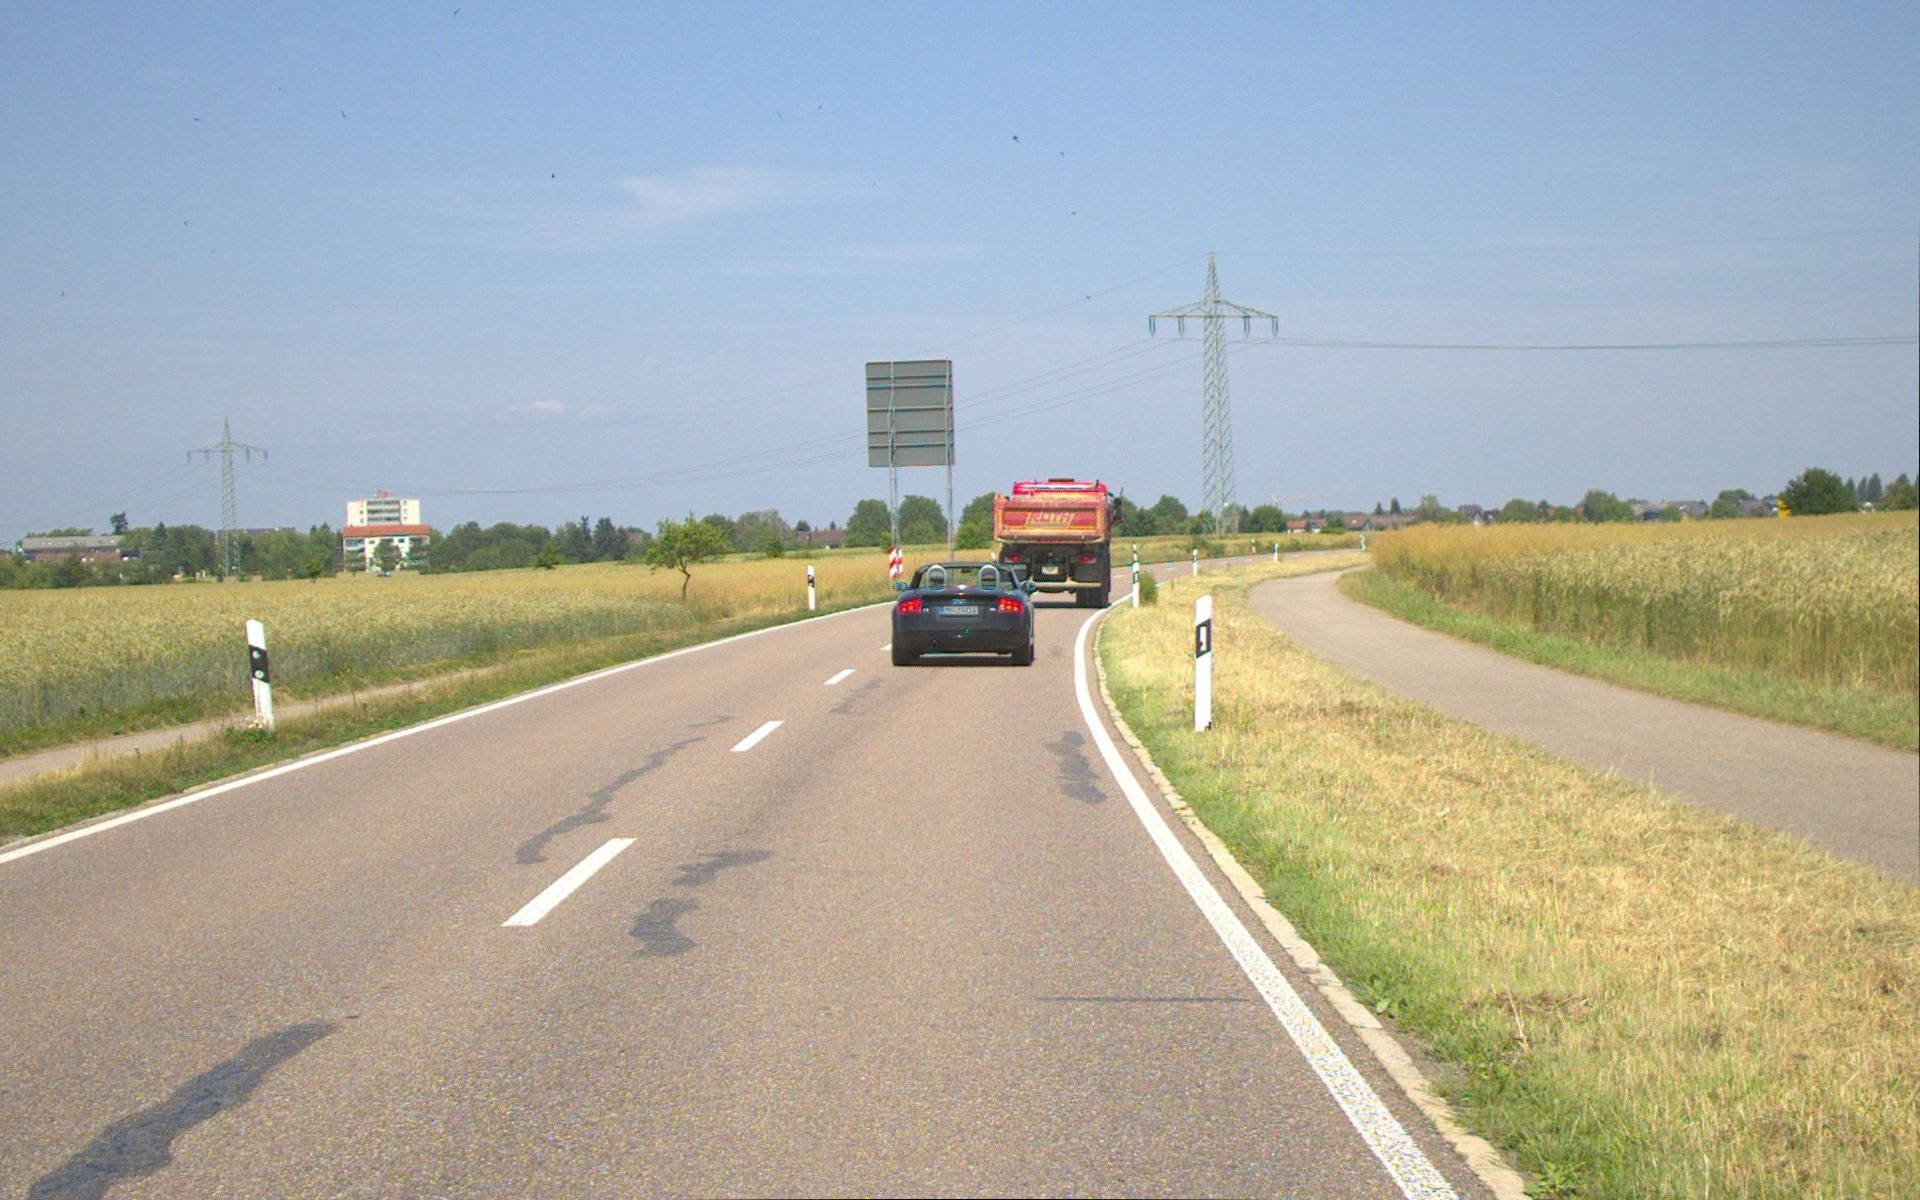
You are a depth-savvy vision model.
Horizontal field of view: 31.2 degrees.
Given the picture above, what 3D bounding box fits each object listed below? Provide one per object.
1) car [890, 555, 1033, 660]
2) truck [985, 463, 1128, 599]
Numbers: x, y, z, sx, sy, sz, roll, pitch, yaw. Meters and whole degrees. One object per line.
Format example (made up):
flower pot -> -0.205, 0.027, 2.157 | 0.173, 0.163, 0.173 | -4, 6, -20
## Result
car -> 0.062, 0.077, 44.143 | 1.744, 1.275, 4.000 | 0, 0, 1
truck -> 2.385, -1.601, 82.247 | 2.938, 3.078, 7.195 | -1, 0, 5
